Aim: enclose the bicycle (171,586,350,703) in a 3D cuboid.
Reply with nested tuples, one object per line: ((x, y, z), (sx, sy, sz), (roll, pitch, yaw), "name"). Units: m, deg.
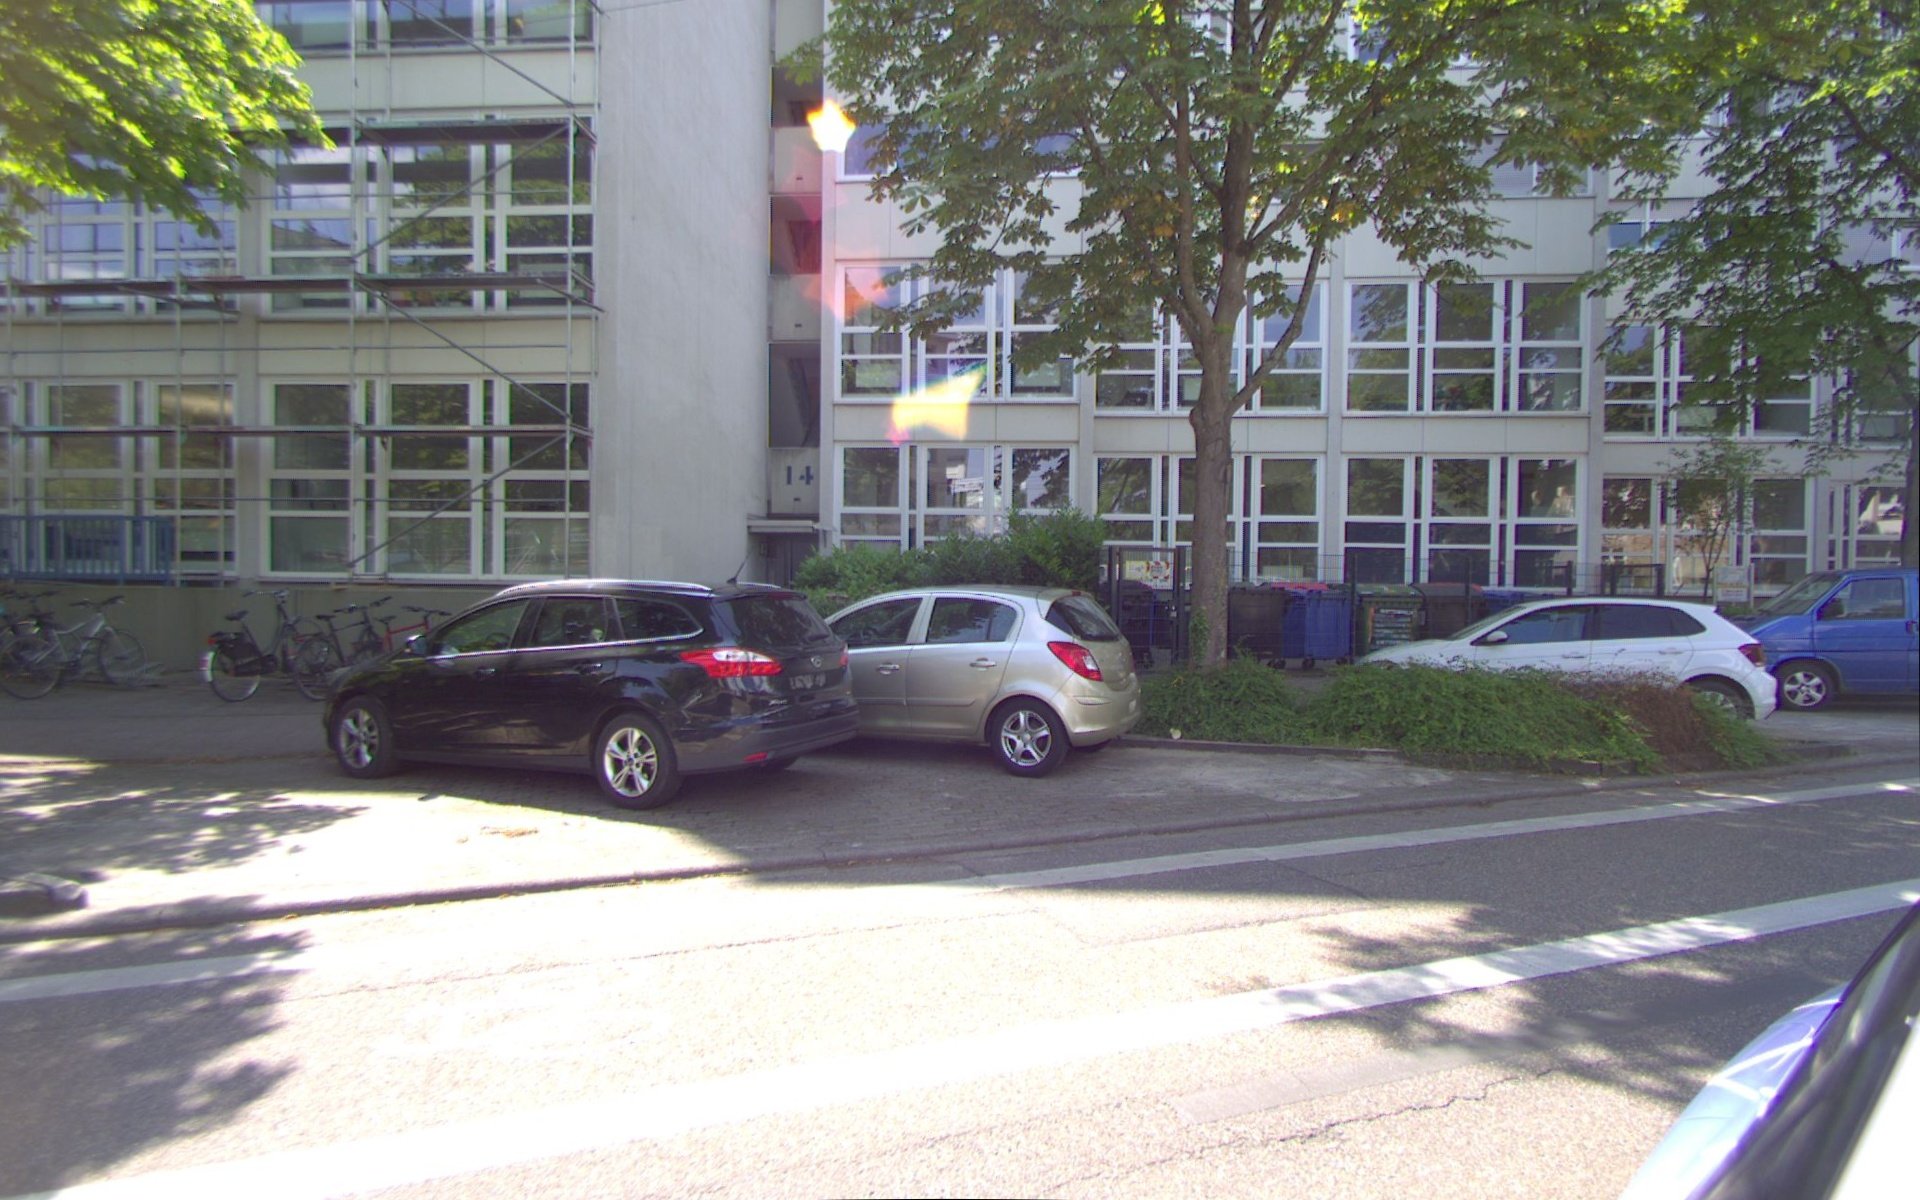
((-8.194, 0.465, 11.966), (0.559, 1.253, 1.939), (0, 1, 9), "bicycle")

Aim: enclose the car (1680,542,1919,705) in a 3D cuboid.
((12.594, 0.283, 13.423), (4.579, 2.039, 1.985), (1, 1, 23), "car")

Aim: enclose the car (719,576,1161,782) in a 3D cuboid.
((-0.147, 0.550, 8.869), (3.499, 1.480, 1.741), (1, 1, 22), "car")

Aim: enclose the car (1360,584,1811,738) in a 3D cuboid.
((6.520, 0.552, 11.111), (3.935, 1.431, 1.702), (1, 1, 22), "car")

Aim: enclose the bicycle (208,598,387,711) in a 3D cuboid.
((-7.506, 0.566, 11.590), (0.559, 1.144, 1.939), (0, 1, 9), "bicycle")

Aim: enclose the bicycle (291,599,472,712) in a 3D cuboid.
((-6.604, 0.578, 11.719), (0.559, 1.144, 2.229), (0, 1, 9), "bicycle")

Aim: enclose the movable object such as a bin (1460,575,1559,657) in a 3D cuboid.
((9.824, 0.270, 18.115), (1.157, 1.416, 1.040), (0, 0, -14), "movable object such as a bin")

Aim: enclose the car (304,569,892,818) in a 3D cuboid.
((-2.752, 0.526, 7.705), (4.149, 1.488, 1.741), (1, 1, 23), "car")

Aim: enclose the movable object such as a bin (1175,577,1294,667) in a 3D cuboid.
((4.309, 0.323, 15.940), (1.421, 1.347, 1.128), (0, 0, -20), "movable object such as a bin")

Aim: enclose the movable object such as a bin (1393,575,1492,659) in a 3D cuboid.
((8.399, 0.273, 17.649), (1.157, 1.416, 1.040), (0, 0, -14), "movable object such as a bin")

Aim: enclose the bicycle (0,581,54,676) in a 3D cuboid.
((-11.883, 0.346, 11.882), (0.559, 1.144, 1.939), (0, 1, 9), "bicycle")

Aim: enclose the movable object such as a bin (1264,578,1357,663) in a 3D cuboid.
((5.723, 0.317, 16.559), (1.054, 1.347, 0.973), (0, 0, -20), "movable object such as a bin")

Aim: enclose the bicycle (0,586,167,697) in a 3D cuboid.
((-10.169, 0.421, 11.529), (0.559, 1.144, 1.939), (0, 1, 9), "bicycle")

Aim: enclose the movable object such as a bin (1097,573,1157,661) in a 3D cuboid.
((2.766, 0.273, 16.787), (0.787, 1.423, 0.768), (0, 0, -8), "movable object such as a bin")

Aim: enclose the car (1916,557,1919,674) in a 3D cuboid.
((18.220, 0.314, 15.679), (4.593, 2.039, 1.978), (1, 1, 31), "car")

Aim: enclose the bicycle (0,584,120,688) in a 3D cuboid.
((-10.923, 0.397, 11.736), (0.559, 1.144, 1.939), (0, 1, 9), "bicycle")

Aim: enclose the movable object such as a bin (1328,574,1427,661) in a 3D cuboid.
((7.080, 0.277, 17.213), (1.157, 1.416, 1.040), (0, 0, -14), "movable object such as a bin")
